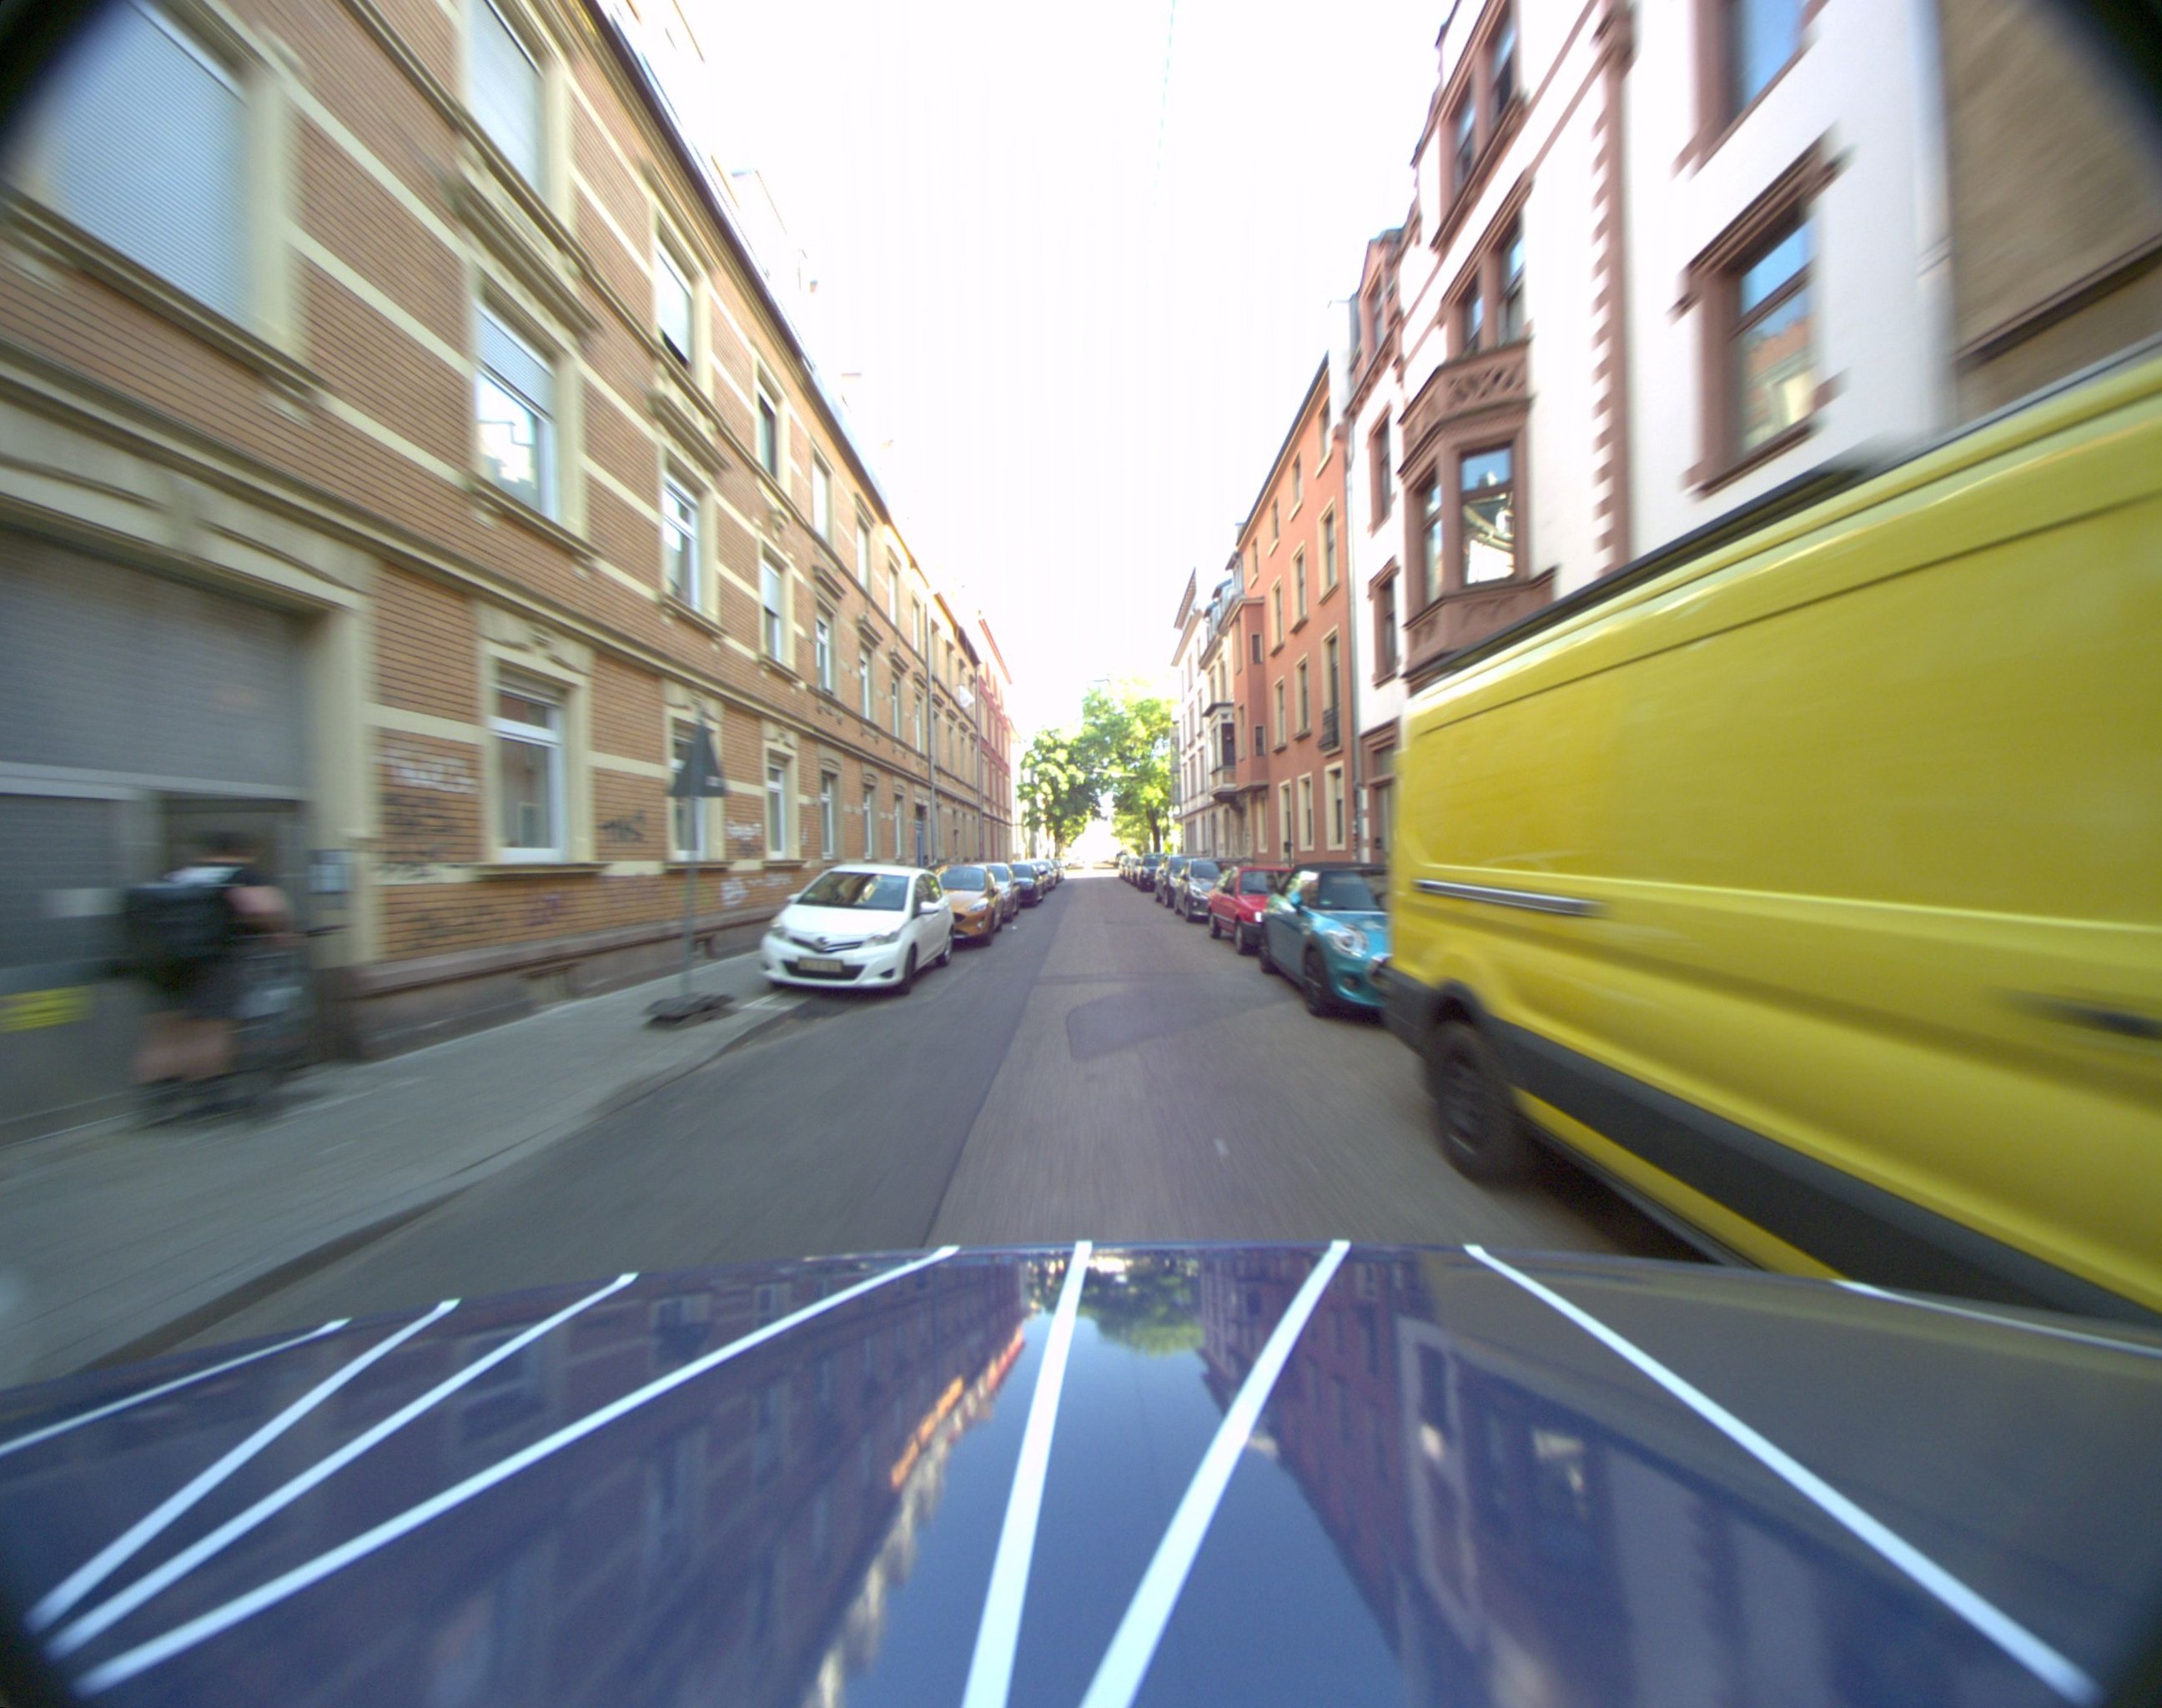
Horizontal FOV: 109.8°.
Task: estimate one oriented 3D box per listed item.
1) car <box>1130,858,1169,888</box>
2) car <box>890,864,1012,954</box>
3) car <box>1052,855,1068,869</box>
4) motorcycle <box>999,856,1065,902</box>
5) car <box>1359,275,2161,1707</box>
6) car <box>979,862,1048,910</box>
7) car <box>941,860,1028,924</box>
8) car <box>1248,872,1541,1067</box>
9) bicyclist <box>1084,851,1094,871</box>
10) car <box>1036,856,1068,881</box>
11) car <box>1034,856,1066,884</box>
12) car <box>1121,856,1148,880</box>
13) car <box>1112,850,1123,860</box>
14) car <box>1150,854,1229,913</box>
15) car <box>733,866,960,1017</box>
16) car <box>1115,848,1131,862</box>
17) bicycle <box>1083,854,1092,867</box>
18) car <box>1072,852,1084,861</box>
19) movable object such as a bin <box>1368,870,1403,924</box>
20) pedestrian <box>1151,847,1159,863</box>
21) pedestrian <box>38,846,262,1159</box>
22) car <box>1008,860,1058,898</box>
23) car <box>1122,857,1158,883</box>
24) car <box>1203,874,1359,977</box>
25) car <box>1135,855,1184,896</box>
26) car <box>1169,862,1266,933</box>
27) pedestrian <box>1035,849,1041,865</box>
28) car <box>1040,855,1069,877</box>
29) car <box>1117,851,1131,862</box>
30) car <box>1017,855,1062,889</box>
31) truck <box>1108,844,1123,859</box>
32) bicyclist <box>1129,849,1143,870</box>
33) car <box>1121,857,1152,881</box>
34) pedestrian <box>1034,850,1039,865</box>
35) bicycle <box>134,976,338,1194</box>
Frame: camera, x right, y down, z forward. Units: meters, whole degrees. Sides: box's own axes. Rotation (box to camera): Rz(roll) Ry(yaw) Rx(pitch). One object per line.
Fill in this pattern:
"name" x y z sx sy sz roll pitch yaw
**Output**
"car" 3.424 0.920 38.576 1.647 1.447 3.839 1 0 0
"car" -2.417 0.979 15.115 1.758 1.437 4.068 1 0 -1
"car" -2.377 0.865 87.509 1.685 1.531 4.134 -1 0 0
"motorcycle" -1.847 0.939 28.795 2.229 1.527 0.888 -4 1 -25
"car" 2.730 0.372 1.559 2.180 2.493 5.878 0 0 0
"car" -2.165 0.995 25.441 1.781 1.388 4.317 -2 0 1
"car" -2.410 0.910 19.904 1.730 1.409 4.093 2 0 -1
"car" 3.012 1.000 8.239 1.722 1.404 3.898 3 1 4
"bicyclist" 0.748 0.671 71.503 0.934 1.809 1.078 -2 1 1
"car" -1.771 0.882 47.783 1.681 1.494 4.069 -2 0 1
"car" -1.704 0.865 42.758 1.663 1.471 4.024 -2 0 -1
"car" 3.688 0.955 53.105 1.785 1.474 3.933 -2 0 3
"car" 6.144 0.184 127.662 1.755 1.464 4.000 -3 0 1
"car" 3.275 0.836 23.574 1.786 1.596 4.069 -2 0 0
"car" -2.839 0.975 10.192 1.725 1.472 4.082 2 0 0
"car" 5.891 0.132 106.832 1.998 1.946 5.042 0 0 1
"bicycle" 0.579 0.606 71.489 0.810 1.136 2.547 -2 0 1
"car" -0.414 0.414 122.097 1.812 1.412 4.000 -2 0 1
"movable object such as a bin" 6.045 0.851 15.099 0.552 1.021 0.559 -3 1 16
"pedestrian" 8.342 0.079 85.764 0.804 1.736 1.006 -2 1 1
"pedestrian" -5.402 0.765 4.476 0.657 1.621 0.878 -1 2 -41
"car" -1.943 0.982 31.699 1.696 1.398 3.992 -2 0 2
"car" 3.428 0.918 44.690 1.786 1.395 3.742 -2 0 0
"car" 3.128 1.064 12.590 1.622 1.319 3.612 1 0 0
"car" 3.368 0.881 33.225 1.765 1.608 4.189 -2 0 2
"car" 3.177 0.960 18.446 1.698 1.466 3.919 1 0 1
"pedestrian" -5.284 0.373 93.094 0.706 1.834 0.840 -2 1 -5
"car" -1.799 0.805 52.657 1.709 1.454 3.970 -2 0 1
"car" 5.757 0.368 101.350 1.731 1.455 3.844 -1 0 1
"car" -1.956 0.827 36.771 1.766 1.475 4.401 -2 0 2
"truck" 6.514 -0.473 145.439 2.395 2.641 7.092 -2 0 -1
"bicyclist" 5.129 0.523 71.107 0.968 1.904 1.138 -2 1 -16
"car" 3.563 0.943 49.255 1.785 1.474 3.743 -2 0 2
"pedestrian" -5.401 0.452 92.250 0.529 1.834 0.707 -2 1 2
"bicycle" -5.128 1.307 4.719 0.598 0.811 1.822 0 1 -40
